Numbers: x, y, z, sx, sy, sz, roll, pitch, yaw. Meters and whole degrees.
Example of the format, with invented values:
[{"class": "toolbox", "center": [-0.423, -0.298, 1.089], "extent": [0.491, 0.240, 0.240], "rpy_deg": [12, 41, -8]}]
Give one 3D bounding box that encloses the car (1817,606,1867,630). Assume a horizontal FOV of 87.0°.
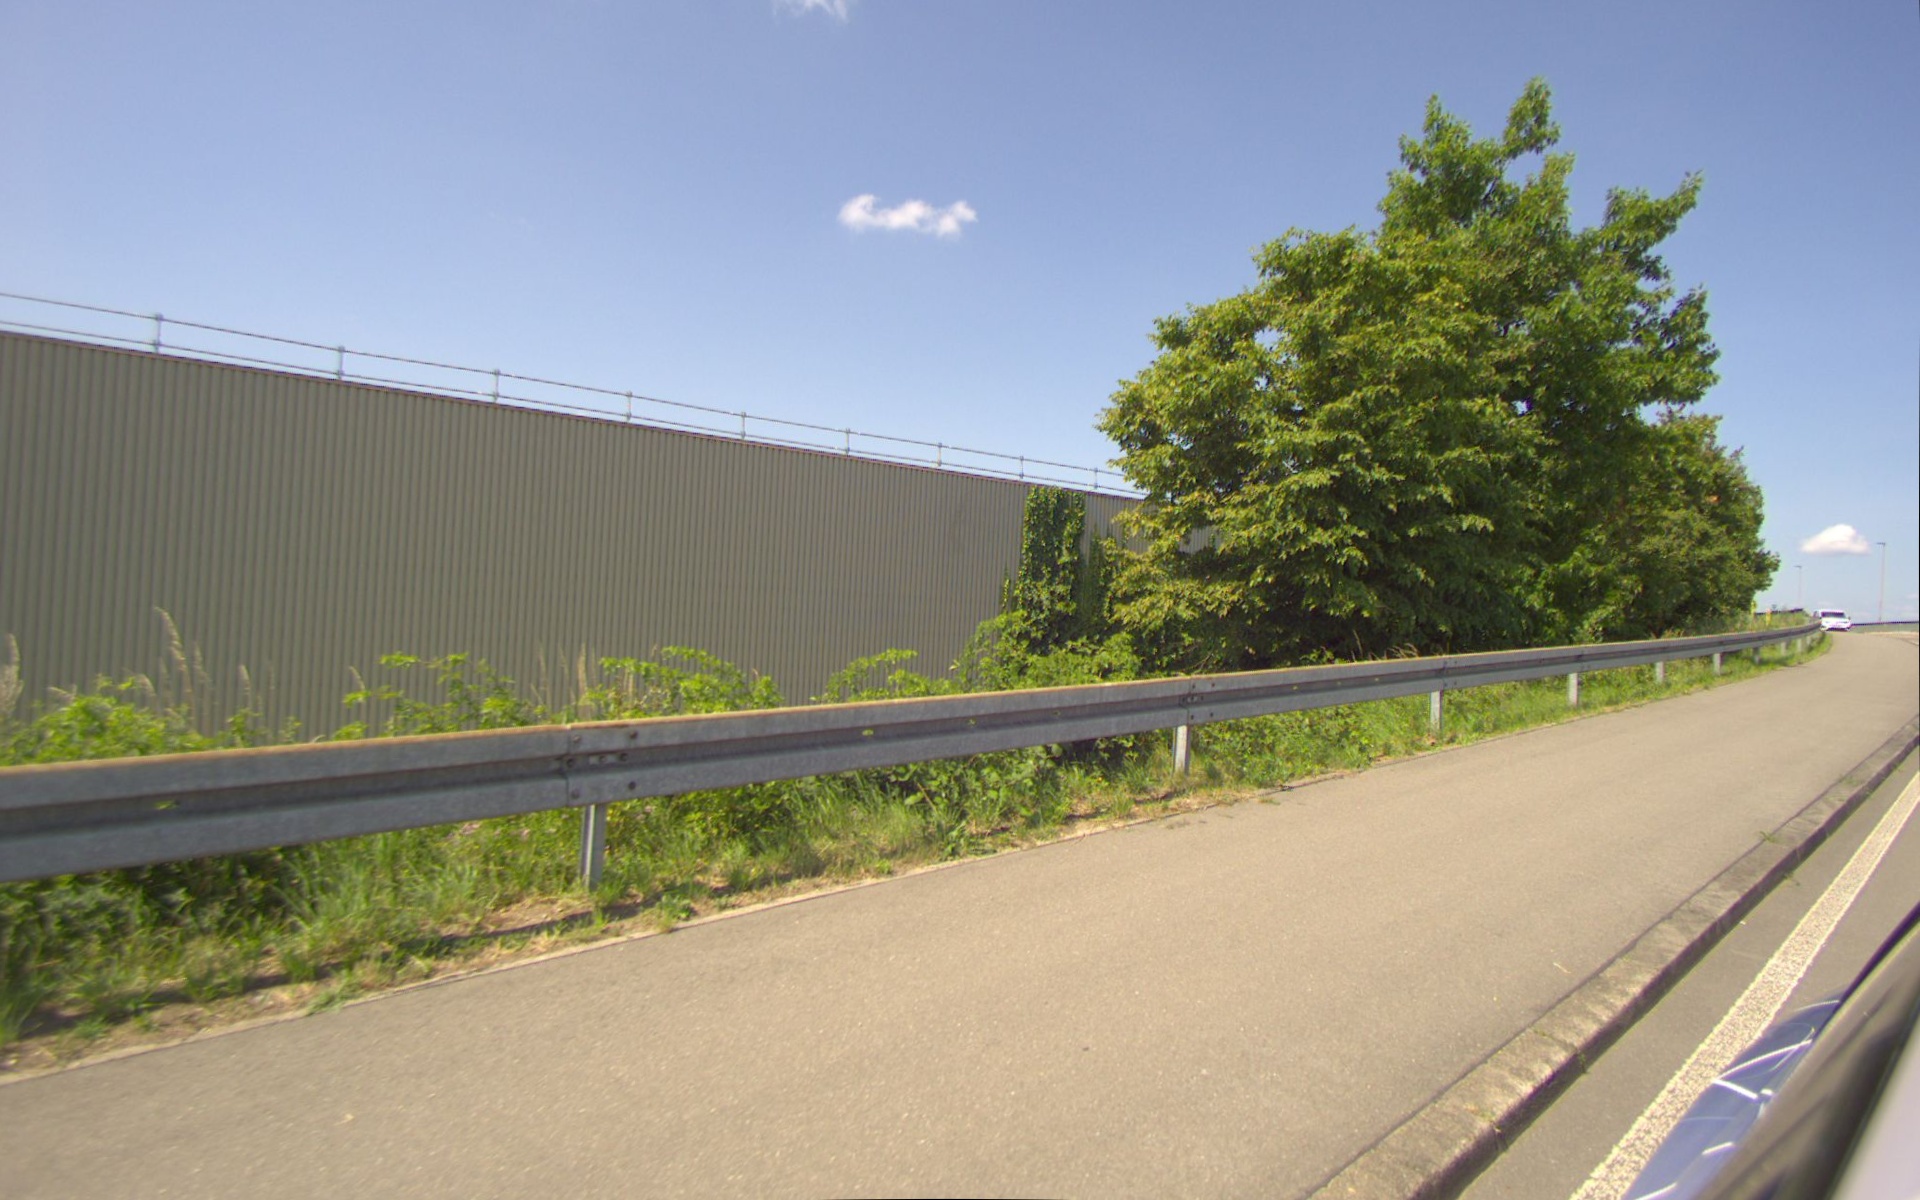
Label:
[{"class": "car", "center": [66.075, 1.362, 75.878], "extent": [2.077, 1.784, 4.234], "rpy_deg": [-1, -2, 31]}]
